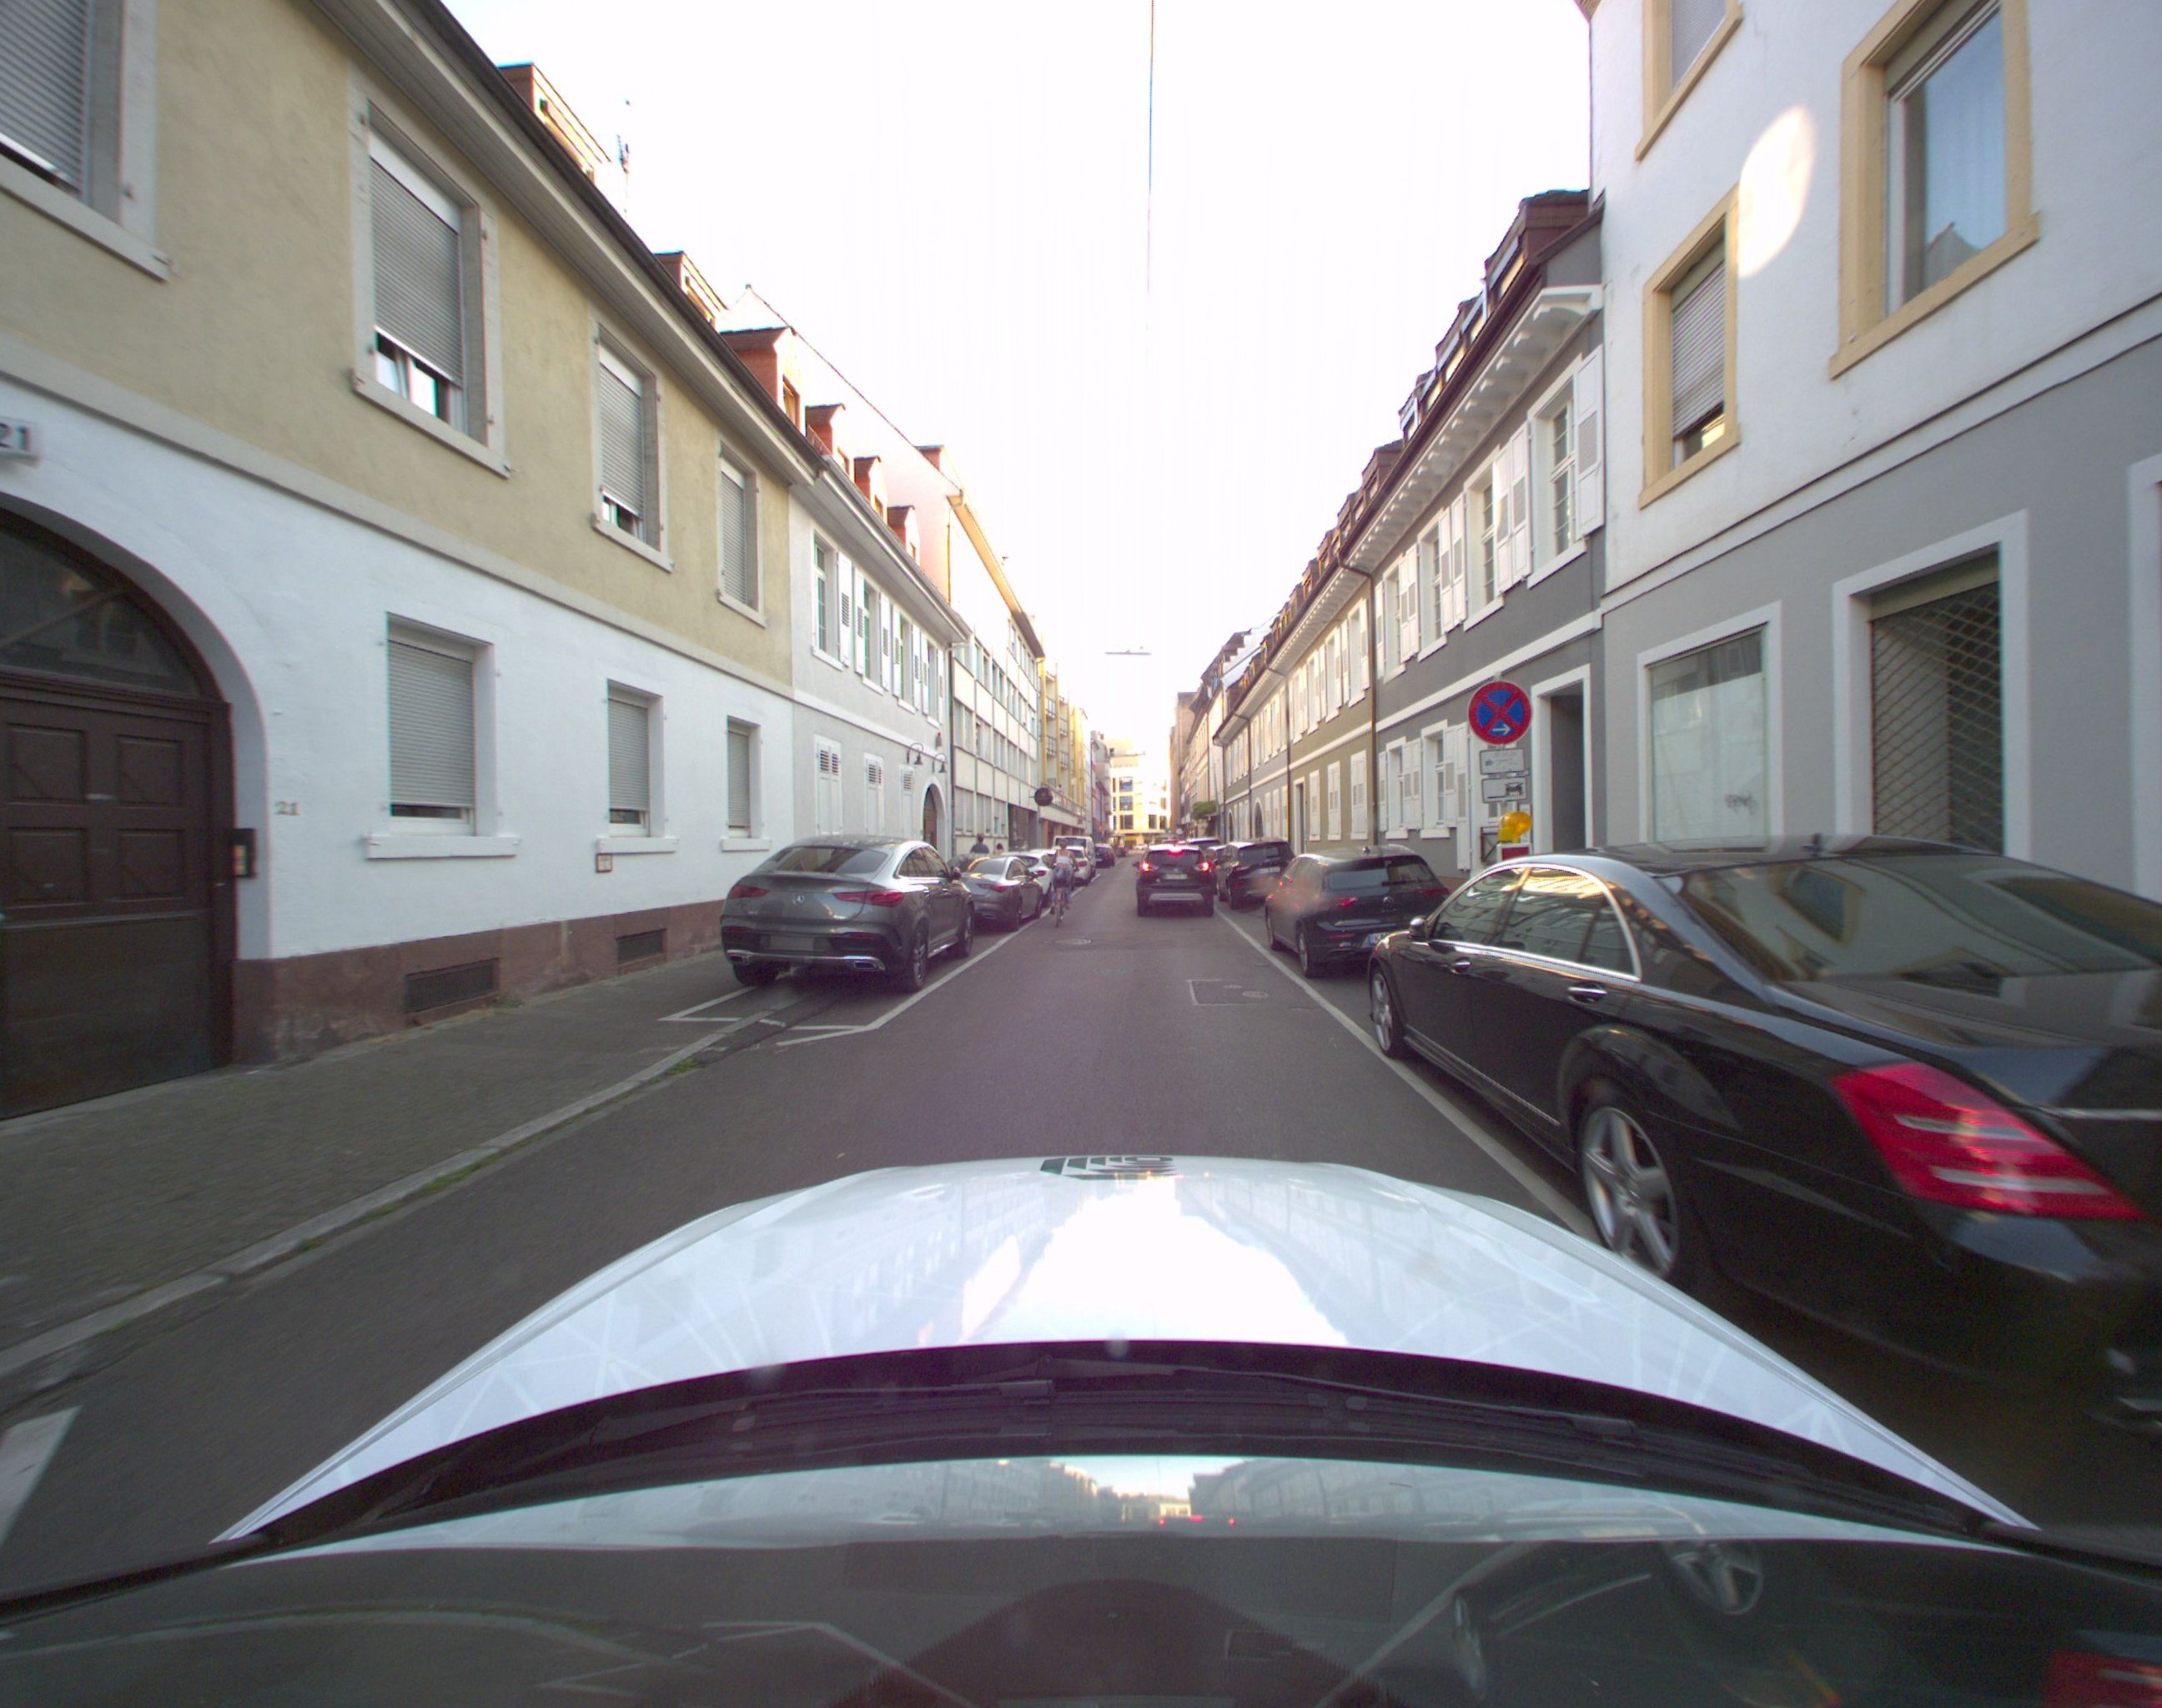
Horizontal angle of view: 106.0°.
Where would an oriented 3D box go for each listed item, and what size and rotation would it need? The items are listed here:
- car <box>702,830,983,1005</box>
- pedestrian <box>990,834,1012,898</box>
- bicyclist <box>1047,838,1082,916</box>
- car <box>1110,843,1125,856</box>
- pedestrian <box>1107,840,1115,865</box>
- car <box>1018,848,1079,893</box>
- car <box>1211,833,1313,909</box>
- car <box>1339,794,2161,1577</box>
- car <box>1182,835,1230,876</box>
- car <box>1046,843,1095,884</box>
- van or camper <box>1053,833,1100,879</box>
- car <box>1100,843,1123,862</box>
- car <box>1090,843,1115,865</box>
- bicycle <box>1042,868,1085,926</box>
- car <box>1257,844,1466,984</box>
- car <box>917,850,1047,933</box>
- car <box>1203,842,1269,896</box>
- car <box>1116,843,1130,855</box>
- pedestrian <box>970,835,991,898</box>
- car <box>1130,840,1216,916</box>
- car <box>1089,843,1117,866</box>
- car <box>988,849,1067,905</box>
[{"bbox_3d":[-2.621,0.591,10.276,1.989,1.707,4.539,0,1,3],"label":"car"},{"bbox_3d":[-2.549,0.387,26.017,0.607,2.013,0.450,0,0,1],"label":"pedestrian"},{"bbox_3d":[-0.332,0.458,16.702,0.618,1.574,0.685,0,0,5],"label":"bicyclist"},{"bbox_3d":[4.563,-0.553,100.795,1.646,1.561,3.610,0,1,5],"label":"car"},{"bbox_3d":[2.173,-0.117,59.395,0.552,1.752,0.568,0,0,1],"label":"pedestrian"},{"bbox_3d":[-1.065,0.524,28.042,1.646,1.411,3.610,0,1,5],"label":"car"},{"bbox_3d":[4.497,0.355,20.815,1.910,1.738,4.157,0,1,3],"label":"car"},{"bbox_3d":[2.828,0.622,4.117,1.810,1.530,5.080,-4,0,6],"label":"car"},{"bbox_3d":[5.038,0.030,33.163,1.646,1.561,3.610,0,1,5],"label":"car"},{"bbox_3d":[-0.380,0.350,32.992,1.646,1.561,3.610,0,1,5],"label":"car"},{"bbox_3d":[-0.150,0.058,38.842,1.836,2.013,4.684,0,1,5],"label":"van or camper"},{"bbox_3d":[2.516,-0.139,66.438,1.646,1.561,3.610,0,1,5],"label":"car"},{"bbox_3d":[1.652,-0.046,60.784,1.646,1.561,3.610,0,1,5],"label":"car"},{"bbox_3d":[-0.337,0.847,16.682,0.610,1.082,1.813,0,0,7],"label":"bicycle"},{"bbox_3d":[3.442,0.613,10.753,1.668,1.486,4.005,0,1,5],"label":"car"},{"bbox_3d":[-1.862,0.655,16.686,1.910,1.434,4.297,0,1,3],"label":"car"},{"bbox_3d":[4.795,0.411,25.565,1.646,1.561,3.610,0,1,5],"label":"car"},{"bbox_3d":[5.536,-0.626,107.523,1.646,1.561,3.610,0,1,5],"label":"car"},{"bbox_3d":[-3.248,0.389,26.388,0.607,2.013,0.450,0,0,1],"label":"pedestrian"},{"bbox_3d":[2.110,0.489,19.397,1.811,1.618,4.005,0,1,4],"label":"car"},{"bbox_3d":[1.529,0.008,55.468,1.646,1.561,3.610,0,1,5],"label":"car"},{"bbox_3d":[-1.412,0.581,22.957,1.646,1.411,3.908,0,1,5],"label":"car"}]
